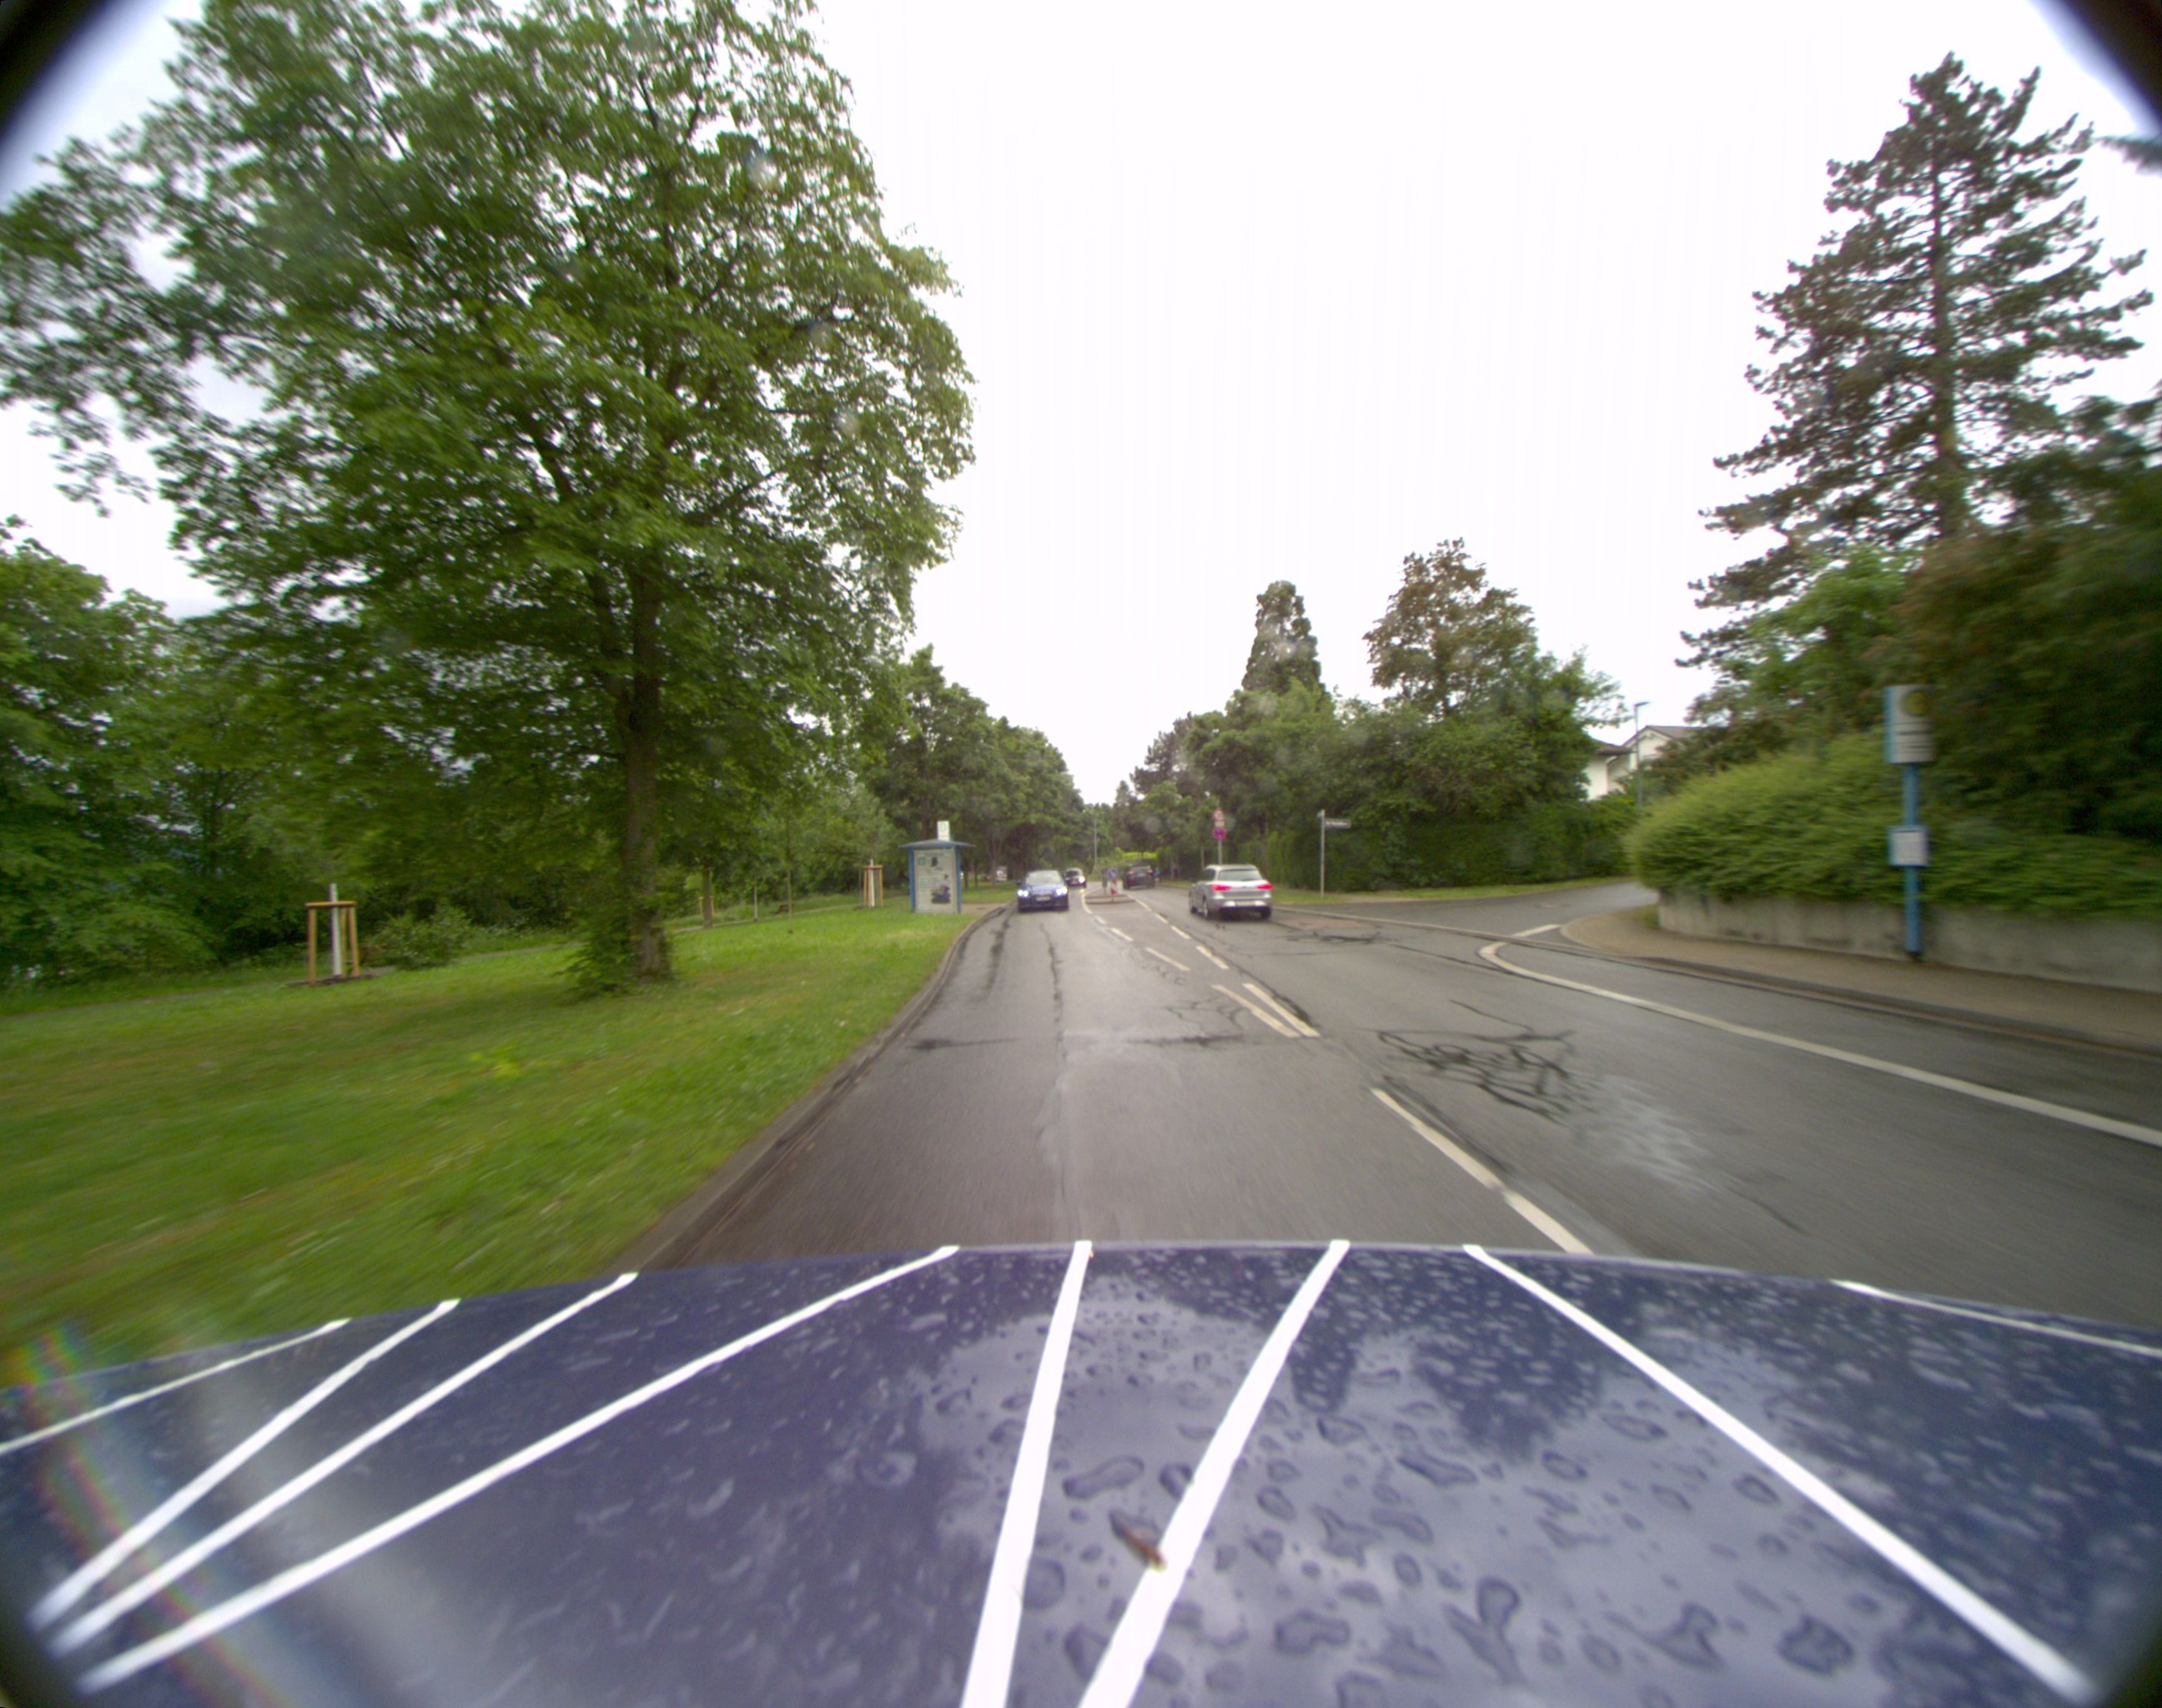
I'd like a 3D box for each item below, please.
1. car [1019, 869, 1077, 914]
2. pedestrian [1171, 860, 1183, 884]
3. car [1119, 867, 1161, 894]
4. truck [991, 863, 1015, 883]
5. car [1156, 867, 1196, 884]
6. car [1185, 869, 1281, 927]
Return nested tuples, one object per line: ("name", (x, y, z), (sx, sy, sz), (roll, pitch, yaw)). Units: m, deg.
("car", (-1.166, 1.356, 28.685), (1.839, 1.501, 4.001), (-2, -1, 2))
("pedestrian", (7.600, 1.400, 60.183), (0.713, 1.819, 0.881), (-5, -1, 4))
("car", (3.698, 1.637, 48.181), (1.999, 1.567, 3.999), (-2, -1, -5))
("truck", (-12.645, 3.098, 123.111), (2.150, 3.027, 5.159), (-2, -1, -24))
("car", (10.069, 2.296, 80.646), (3.862, 1.577, 1.817), (-3, -1, -5))
("car", (4.129, 1.146, 21.300), (1.795, 1.414, 4.359), (0, -1, -1))
